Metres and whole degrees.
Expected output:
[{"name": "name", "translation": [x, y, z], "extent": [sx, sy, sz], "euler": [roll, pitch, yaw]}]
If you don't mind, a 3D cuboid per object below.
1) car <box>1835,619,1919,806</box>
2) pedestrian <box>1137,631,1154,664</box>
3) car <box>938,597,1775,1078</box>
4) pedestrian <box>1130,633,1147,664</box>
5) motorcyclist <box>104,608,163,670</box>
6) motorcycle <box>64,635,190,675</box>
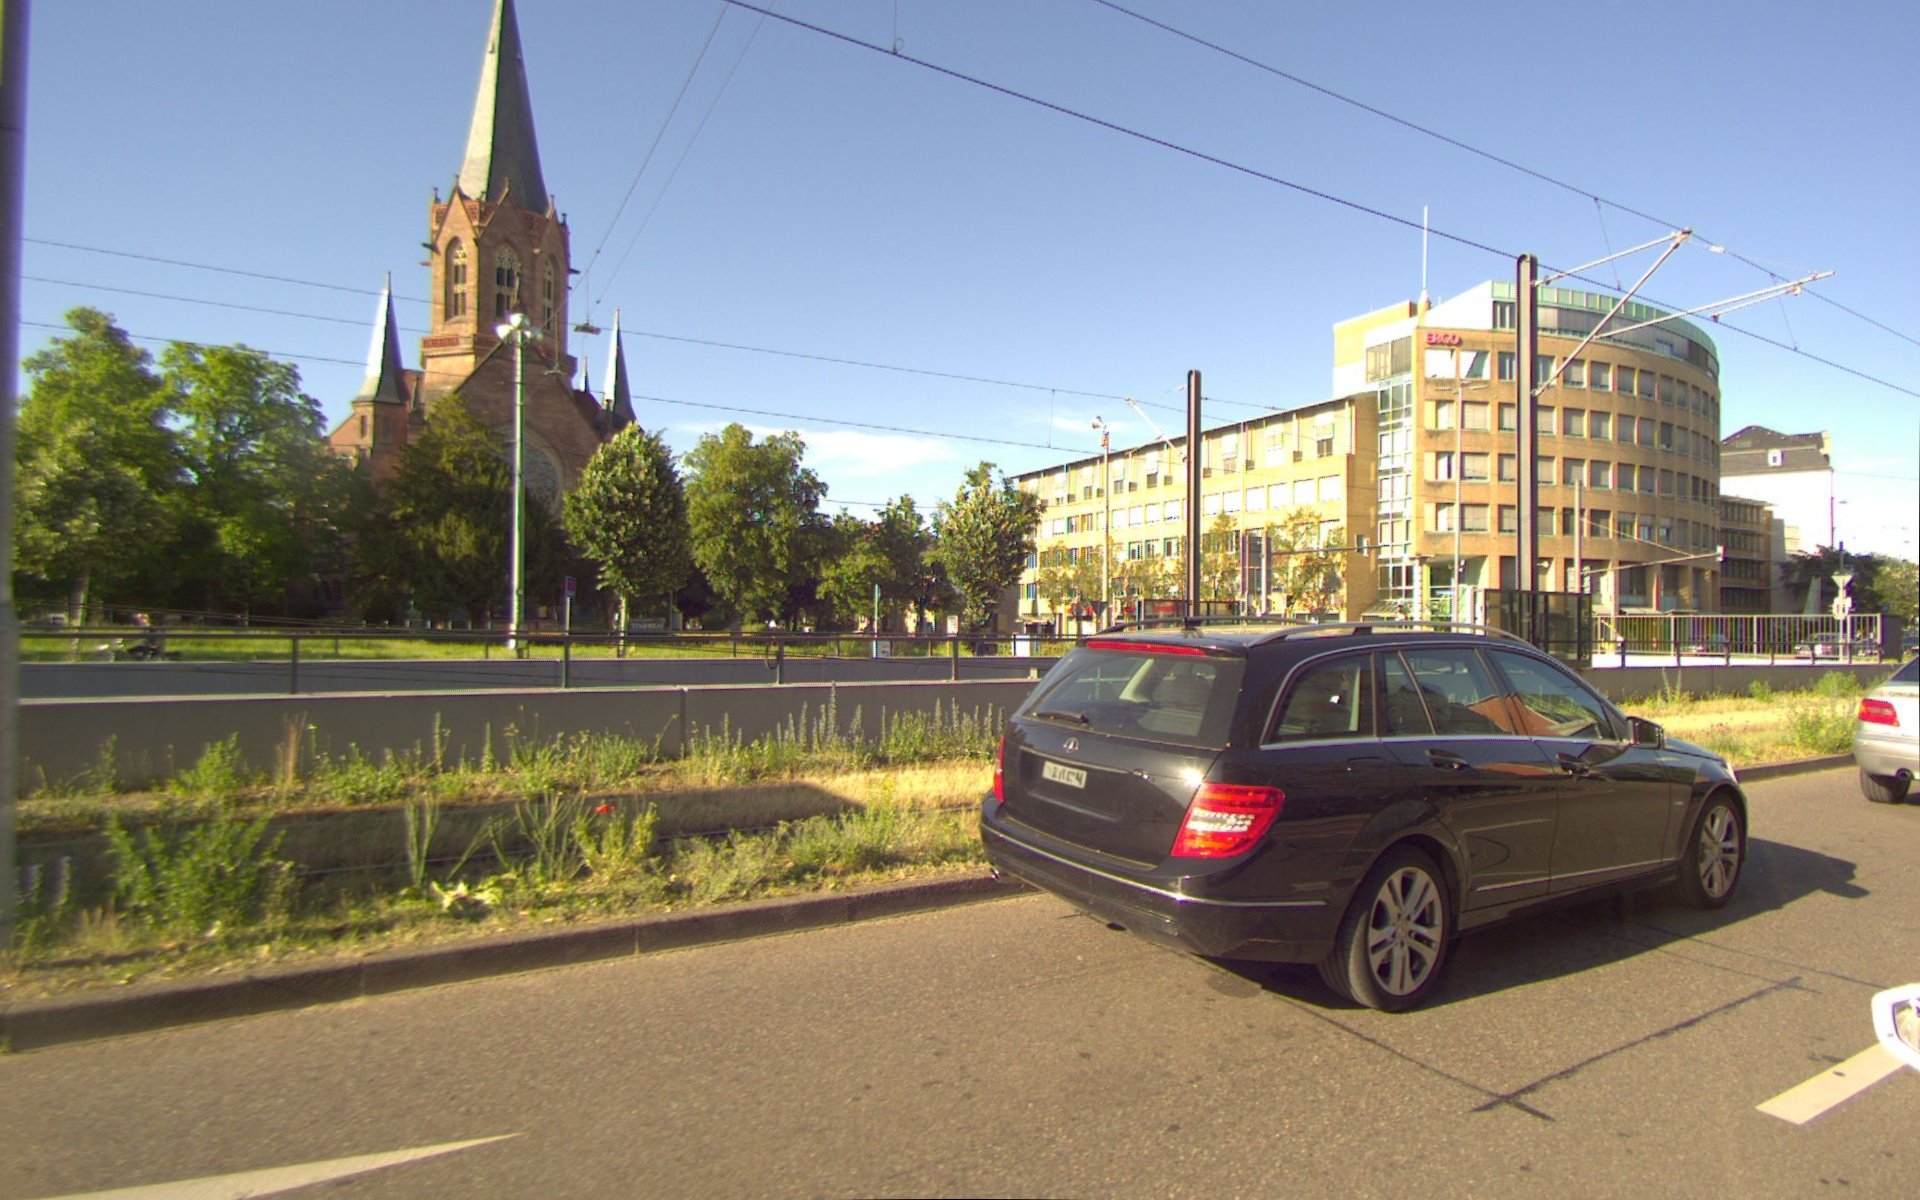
[{"name": "car", "translation": [9.325, 0.932, 8.572], "extent": [3.954, 1.440, 1.636], "euler": [2, 0, -31]}, {"name": "pedestrian", "translation": [8.701, 2.221, 47.118], "extent": [0.561, 1.551, 0.440], "euler": [1, 0, -30]}, {"name": "car", "translation": [2.192, 0.791, 5.043], "extent": [4.363, 1.490, 1.716], "euler": [2, -1, -33]}, {"name": "pedestrian", "translation": [8.516, 2.293, 47.896], "extent": [0.484, 1.447, 0.609], "euler": [1, 0, -30]}, {"name": "motorcyclist", "translation": [-18.880, 0.881, 22.970], "extent": [0.863, 1.355, 0.879], "euler": [1, 0, -29]}, {"name": "motorcycle", "translation": [-18.932, 1.250, 22.880], "extent": [2.118, 0.861, 0.511], "euler": [2, 0, -29]}]
